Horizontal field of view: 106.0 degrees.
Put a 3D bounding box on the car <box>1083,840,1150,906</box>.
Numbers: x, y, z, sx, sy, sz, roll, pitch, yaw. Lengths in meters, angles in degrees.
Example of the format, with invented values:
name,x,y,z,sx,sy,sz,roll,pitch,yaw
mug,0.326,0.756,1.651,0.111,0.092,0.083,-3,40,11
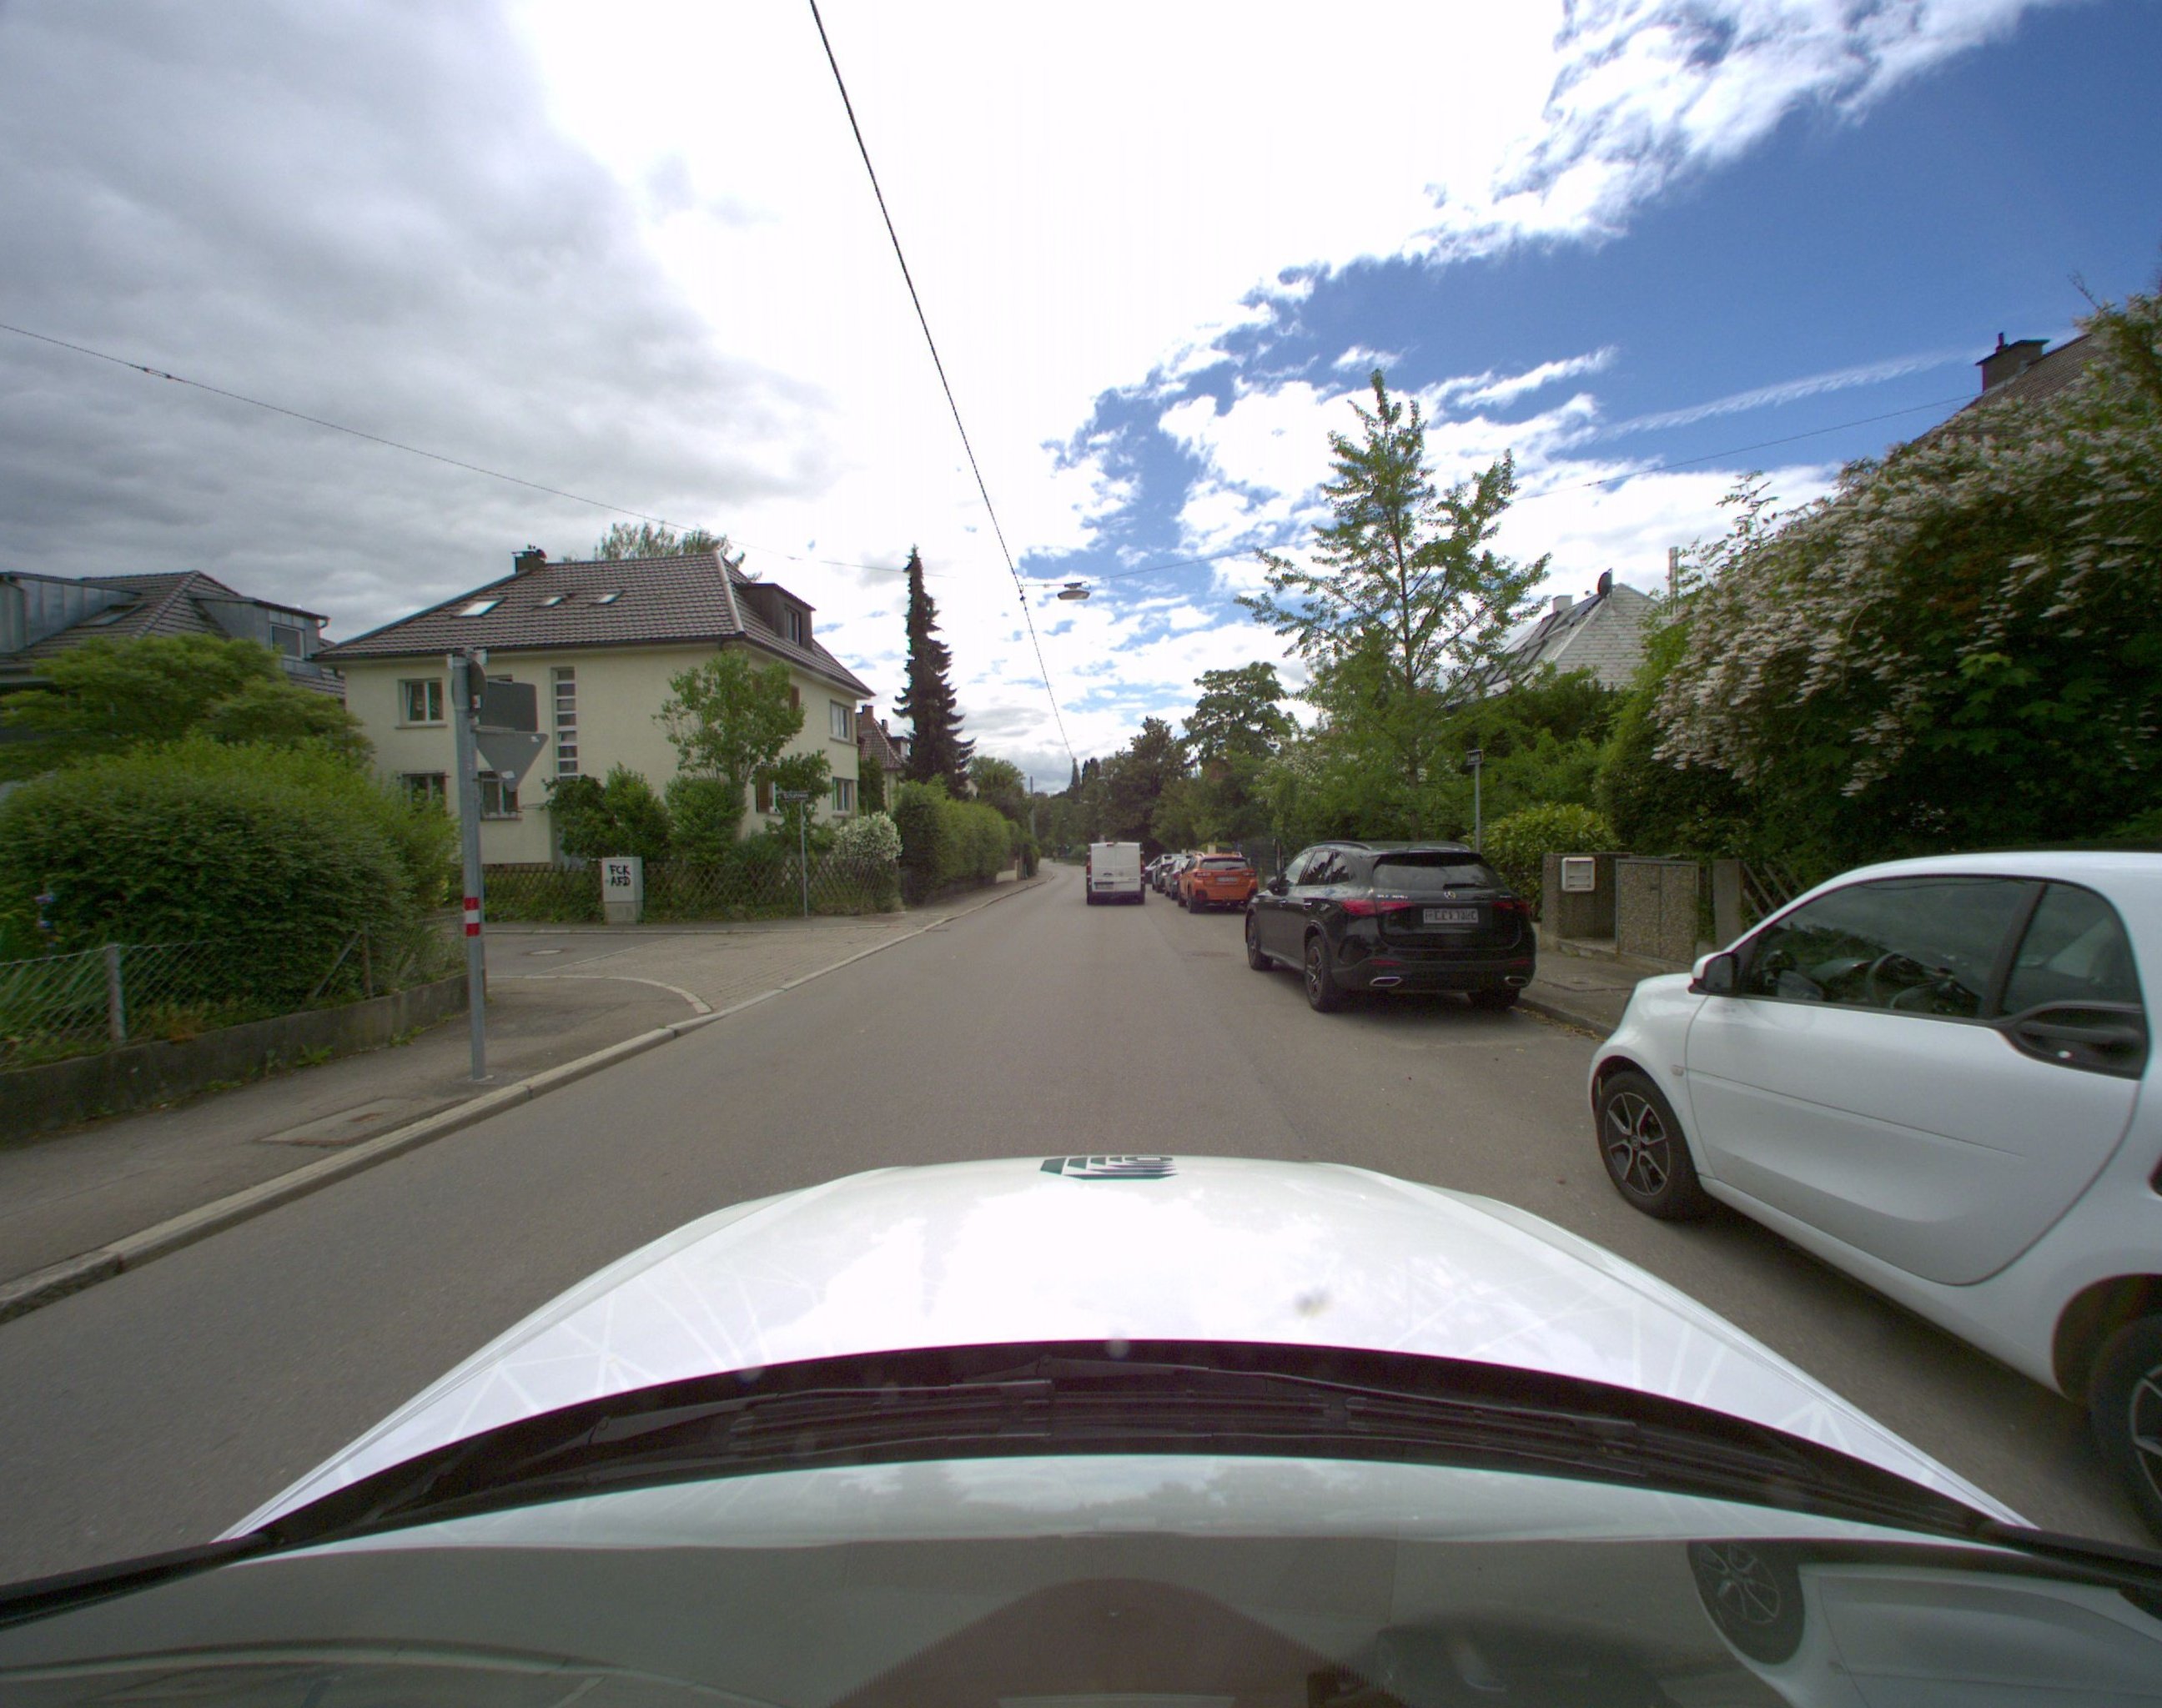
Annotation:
name,x,y,z,sx,sy,sz,roll,pitch,yaw
car,1.087,0.556,27.109,1.924,1.964,4.399,-1,0,-1

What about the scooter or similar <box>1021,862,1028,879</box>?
name,x,y,z,sx,sy,sz,roll,pitch,yaw
scooter or similar,-4.027,1.187,57.713,0.390,1.171,1.270,-1,0,0

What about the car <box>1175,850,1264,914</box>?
name,x,y,z,sx,sy,sz,roll,pitch,yaw
car,3.765,0.715,22.840,1.844,1.626,4.170,0,0,1

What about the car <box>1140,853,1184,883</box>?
name,x,y,z,sx,sy,sz,roll,pitch,yaw
car,4.382,0.728,44.032,2.275,1.524,1.320,-2,0,6

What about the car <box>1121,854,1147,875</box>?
name,x,y,z,sx,sy,sz,roll,pitch,yaw
car,4.539,0.888,70.006,1.860,1.685,4.348,-1,0,-1

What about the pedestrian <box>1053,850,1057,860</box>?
name,x,y,z,sx,sy,sz,roll,pitch,yaw
pedestrian,-4.270,0.113,134.710,0.697,1.616,0.714,-1,2,-5

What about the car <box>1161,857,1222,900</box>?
name,x,y,z,sx,sy,sz,roll,pitch,yaw
car,3.905,0.828,29.321,1.710,1.382,4.237,-1,0,2

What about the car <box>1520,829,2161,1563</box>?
name,x,y,z,sx,sy,sz,roll,pitch,yaw
car,3.046,0.687,2.719,1.592,1.510,3.015,-2,0,2

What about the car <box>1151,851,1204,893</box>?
name,x,y,z,sx,sy,sz,roll,pitch,yaw
car,4.013,0.733,34.565,1.822,1.623,4.493,-1,0,2

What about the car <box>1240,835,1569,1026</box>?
name,x,y,z,sx,sy,sz,roll,pitch,yaw
car,3.204,0.664,9.167,1.944,1.626,4.375,0,0,0
